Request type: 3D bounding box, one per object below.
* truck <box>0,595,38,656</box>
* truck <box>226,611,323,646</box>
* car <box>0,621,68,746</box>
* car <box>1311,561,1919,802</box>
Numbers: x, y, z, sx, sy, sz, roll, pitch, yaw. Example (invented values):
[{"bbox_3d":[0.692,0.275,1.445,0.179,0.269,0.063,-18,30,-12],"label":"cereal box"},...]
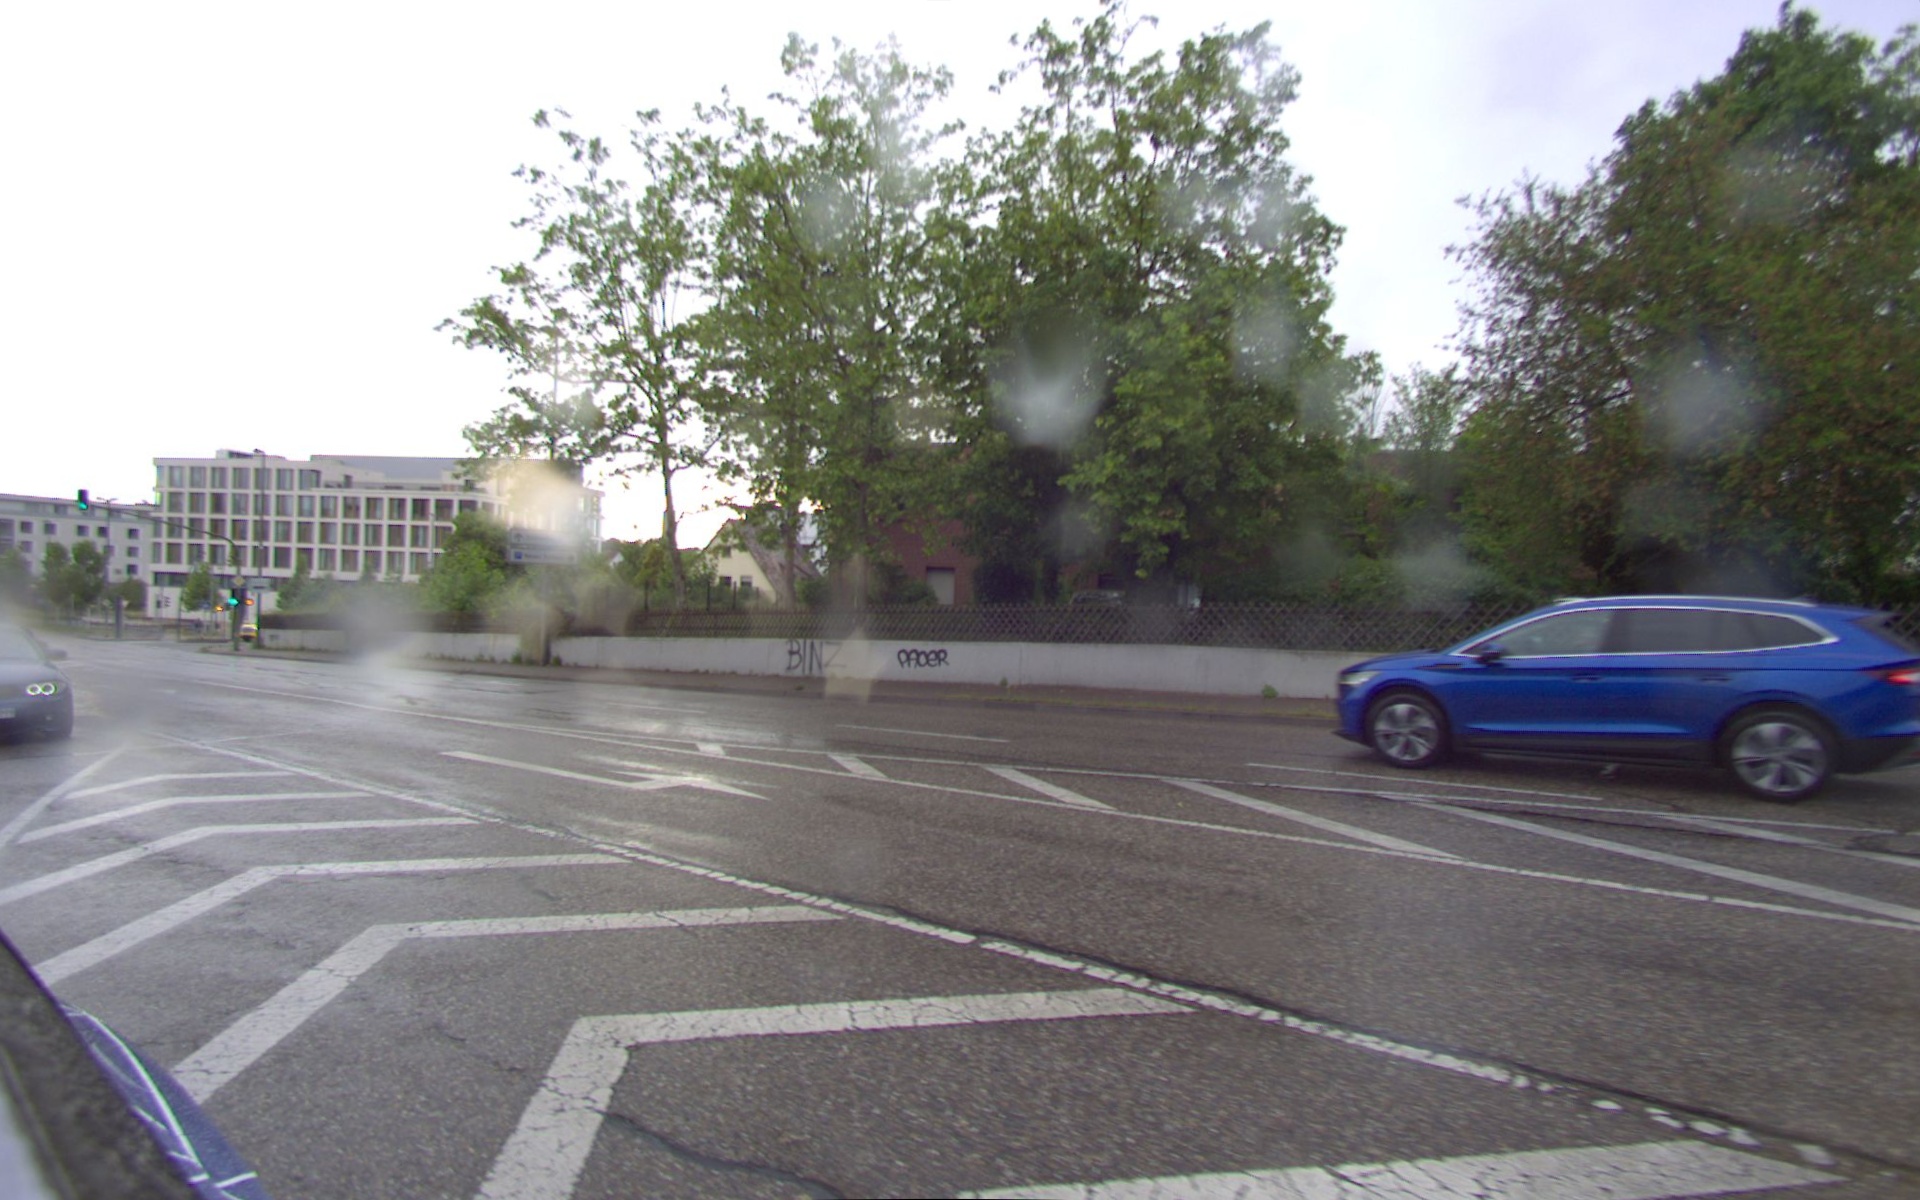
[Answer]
[{"bbox_3d":[-41.059,1.039,43.075,6.200,2.458,2.140,0,-1,43],"label":"truck"},{"bbox_3d":[-53.232,2.257,78.789,2.209,2.557,6.142,1,-2,16],"label":"truck"},{"bbox_3d":[-12.483,0.979,12.548,3.705,1.353,1.763,0,0,43],"label":"car"},{"bbox_3d":[5.859,0.563,9.178,4.700,1.706,1.974,0,0,39],"label":"car"}]
